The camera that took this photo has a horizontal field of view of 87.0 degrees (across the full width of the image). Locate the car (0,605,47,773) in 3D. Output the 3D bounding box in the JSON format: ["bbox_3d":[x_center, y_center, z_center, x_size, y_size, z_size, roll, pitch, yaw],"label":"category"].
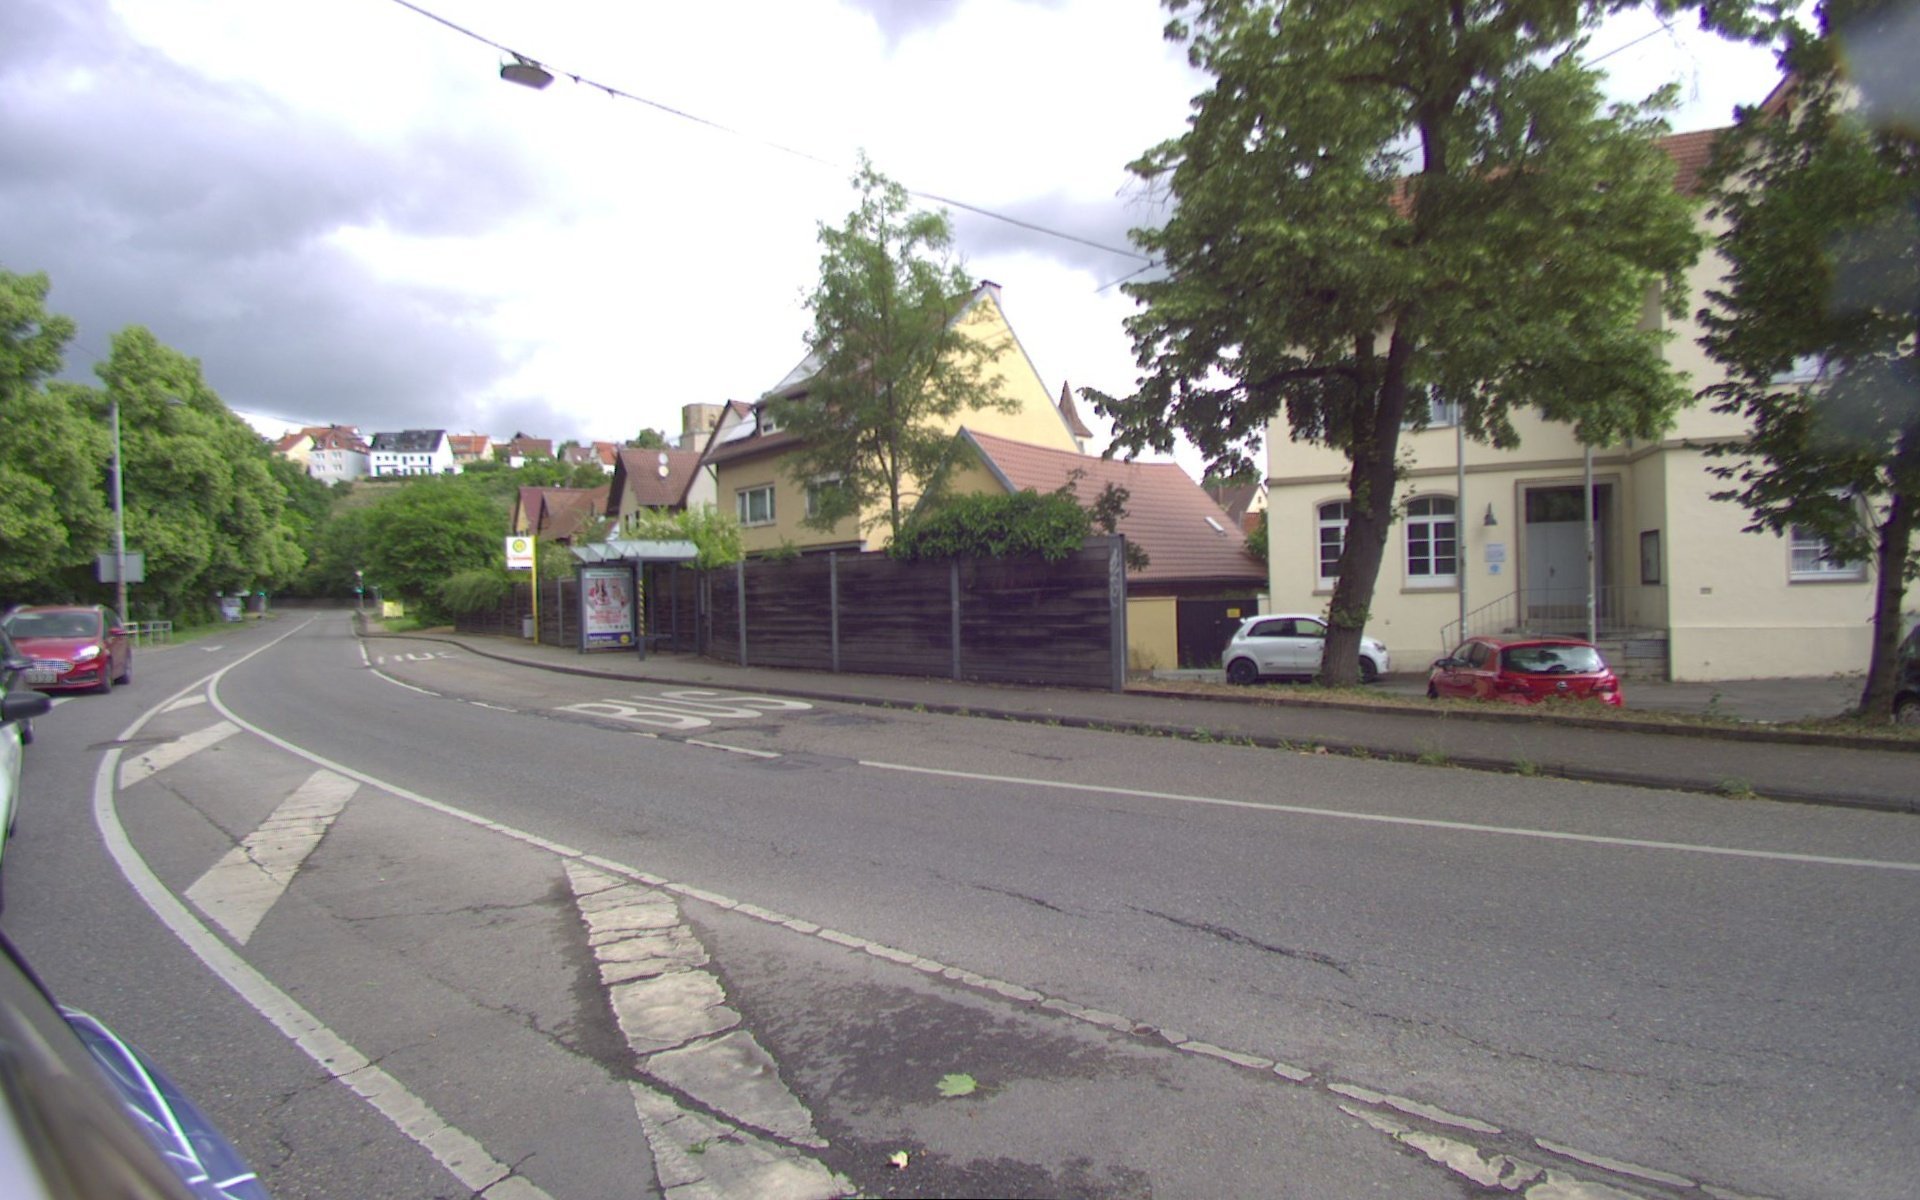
[{"bbox_3d":[-10.699,0.858,10.417,1.698,1.559,3.789,-1,0,-39],"label":"car"}]

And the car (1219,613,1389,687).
[{"bbox_3d":[7.745,1.106,22.928,3.487,1.528,1.581,-1,0,20],"label":"car"}]

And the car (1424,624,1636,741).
[{"bbox_3d":[8.125,1.102,14.772,1.590,1.389,3.544,-1,0,10],"label":"car"}]

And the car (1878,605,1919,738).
[{"bbox_3d":[12.699,0.886,11.589,1.586,1.644,3.093,-1,0,2],"label":"car"}]

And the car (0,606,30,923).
[{"bbox_3d":[-6.032,0.813,5.279,1.594,1.525,3.610,-1,0,-41],"label":"car"}]

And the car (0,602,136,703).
[{"bbox_3d":[-17.017,0.914,19.139,1.799,1.685,4.069,-1,0,-34],"label":"car"}]
